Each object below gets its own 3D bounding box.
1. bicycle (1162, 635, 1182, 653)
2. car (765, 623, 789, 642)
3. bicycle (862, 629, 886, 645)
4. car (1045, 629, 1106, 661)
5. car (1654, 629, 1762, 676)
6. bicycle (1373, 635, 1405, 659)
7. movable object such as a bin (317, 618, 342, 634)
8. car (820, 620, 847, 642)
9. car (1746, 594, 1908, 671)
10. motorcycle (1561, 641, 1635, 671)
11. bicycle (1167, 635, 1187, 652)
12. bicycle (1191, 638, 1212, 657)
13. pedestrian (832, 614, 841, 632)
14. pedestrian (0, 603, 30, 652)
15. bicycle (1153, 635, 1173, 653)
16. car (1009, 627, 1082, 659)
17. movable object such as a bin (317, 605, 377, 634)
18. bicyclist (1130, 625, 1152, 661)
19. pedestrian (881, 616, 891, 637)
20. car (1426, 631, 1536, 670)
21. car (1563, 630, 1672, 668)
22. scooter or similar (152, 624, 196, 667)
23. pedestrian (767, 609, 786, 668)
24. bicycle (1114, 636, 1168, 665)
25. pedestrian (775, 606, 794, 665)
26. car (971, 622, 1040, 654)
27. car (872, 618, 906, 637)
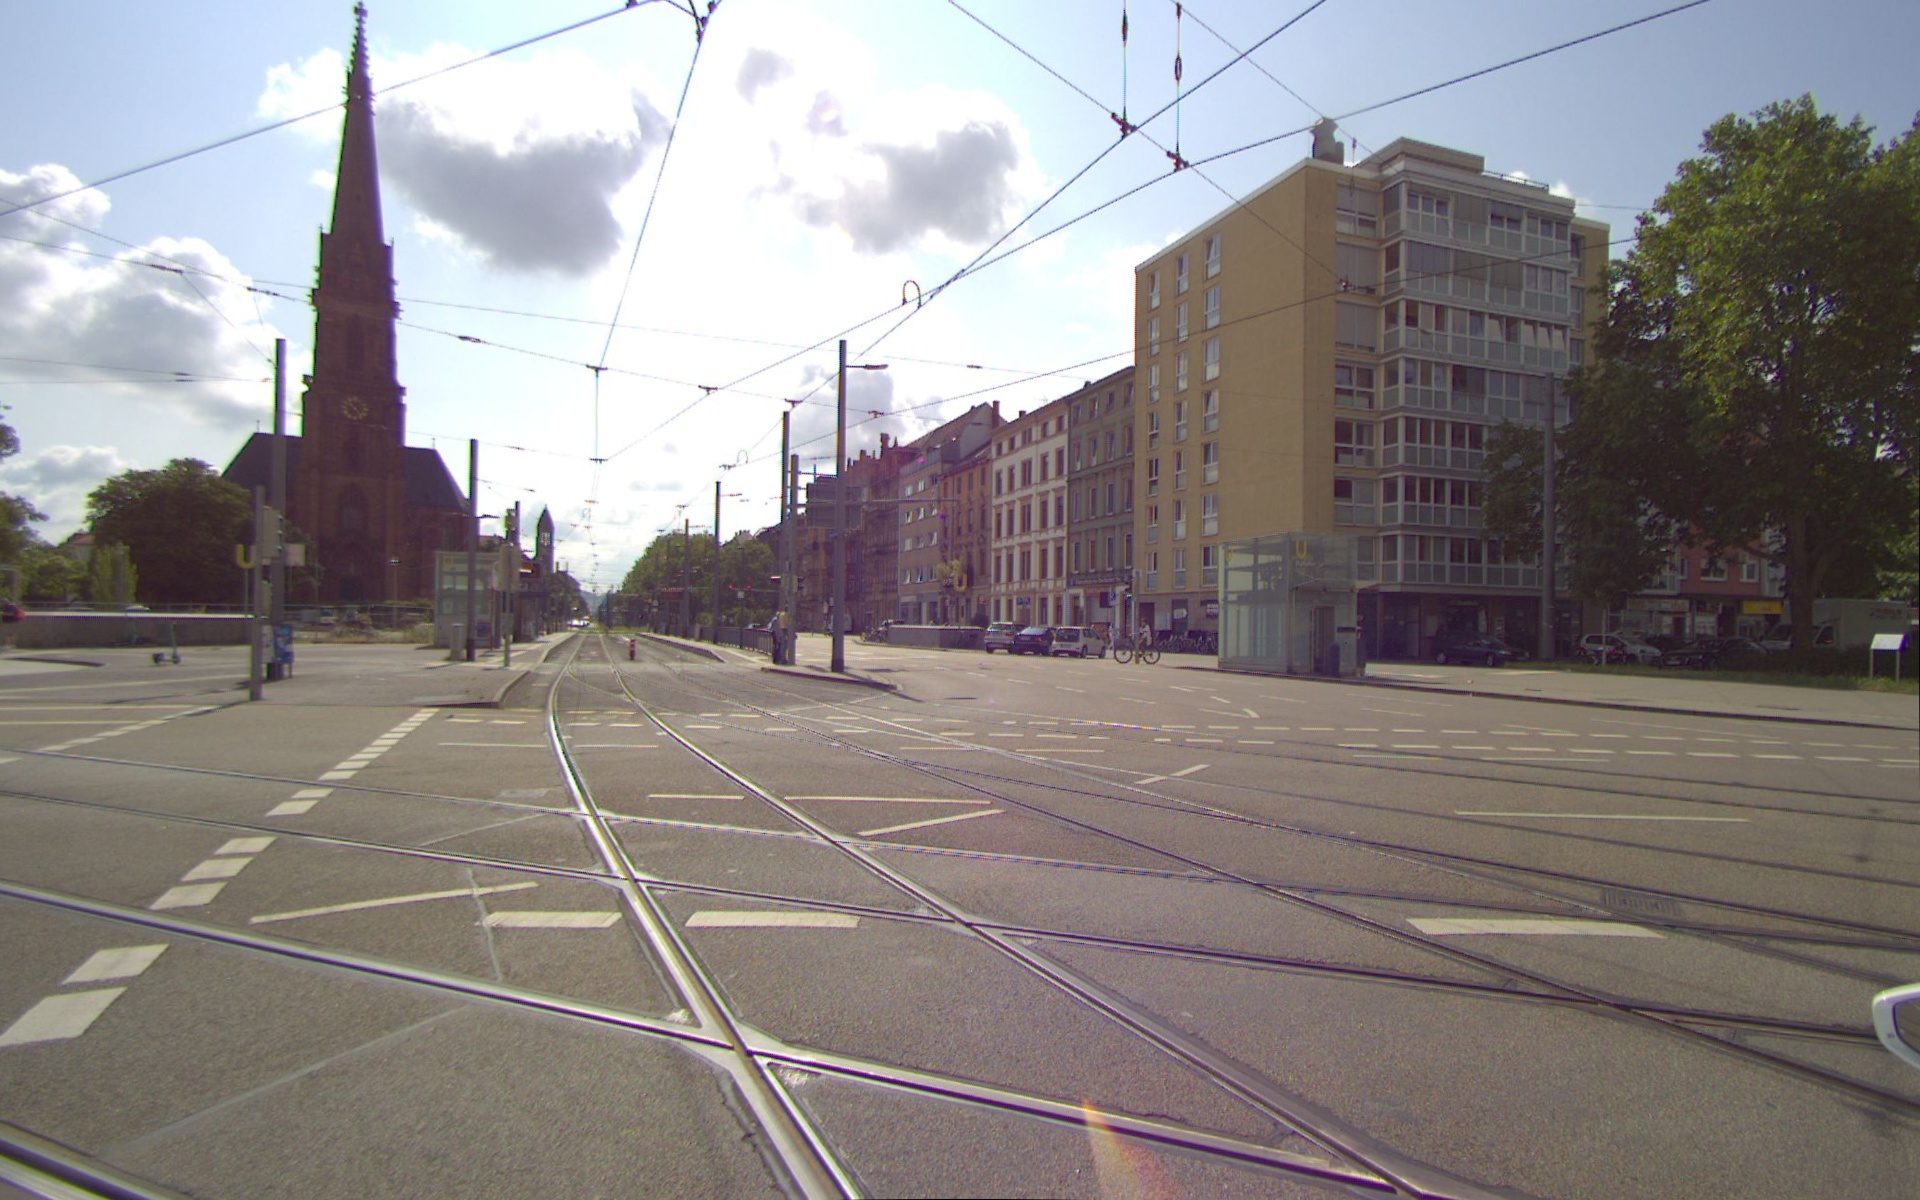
[{"bbox_3d":[11.743,2.414,55.681,0.289,0.935,1.456,1,0,-22],"label":"bicycle"},{"bbox_3d":[-18.441,3.277,101.178,1.670,1.734,3.589,1,1,-22],"label":"car"},{"bbox_3d":[-6.871,2.929,80.017,1.910,1.254,0.437,1,1,-34],"label":"bicycle"},{"bbox_3d":[5.614,2.183,48.541,1.747,1.472,3.491,0,-3,29],"label":"car"},{"bbox_3d":[29.651,2.044,39.804,3.951,1.728,1.985,1,-1,-29],"label":"car"},{"bbox_3d":[20.521,2.248,48.078,1.325,1.144,0.592,1,1,-17],"label":"bicycle"},{"bbox_3d":[-61.010,2.493,97.215,1.979,1.522,5.108,2,-2,-33],"label":"movable object such as a bin"},{"bbox_3d":[-15.684,3.823,124.399,1.970,2.559,5.862,1,-2,-20],"label":"car"},{"bbox_3d":[36.680,1.420,42.450,7.139,3.083,1.991,1,-1,-20],"label":"car"},{"bbox_3d":[23.962,2.092,37.779,2.252,1.043,0.973,1,-3,29],"label":"motorcycle"},{"bbox_3d":[12.033,2.415,55.801,0.289,0.935,1.456,1,-1,-22],"label":"bicycle"},{"bbox_3d":[12.800,2.523,53.232,0.289,0.935,1.457,1,1,-19],"label":"bicycle"},{"bbox_3d":[-13.217,2.477,107.713,0.659,1.928,0.687,1,-1,-39],"label":"pedestrian"},{"bbox_3d":[-35.922,1.040,38.117,0.551,1.818,0.720,0,-1,22],"label":"pedestrian"},{"bbox_3d":[11.253,2.421,55.707,0.289,0.935,1.456,1,-1,-22],"label":"bicycle"},{"bbox_3d":[4.381,2.181,50.913,1.904,1.479,4.592,1,-2,30],"label":"car"},{"bbox_3d":[-64.042,2.091,105.058,5.089,2.950,1.986,1,-2,-28],"label":"movable object such as a bin"},{"bbox_3d":[7.085,1.672,39.305,0.768,1.354,0.395,2,1,6],"label":"bicyclist"},{"bbox_3d":[-7.450,2.667,100.903,0.712,2.127,0.782,1,1,-20],"label":"pedestrian"},{"bbox_3d":[22.482,2.156,43.487,1.782,1.534,4.075,1,-1,-21],"label":"car"},{"bbox_3d":[31.358,2.303,48.056,1.782,1.534,4.075,1,1,-21],"label":"car"},{"bbox_3d":[-22.416,1.294,28.668,0.803,1.182,1.159,1,-1,-30],"label":"scooter or similar"},{"bbox_3d":[-6.466,1.346,35.373,0.498,2.040,0.511,1,-1,-32],"label":"pedestrian"},{"bbox_3d":[7.069,1.969,39.277,2.058,1.121,0.544,1,-1,6],"label":"bicycle"},{"bbox_3d":[-6.087,1.231,34.842,0.422,2.040,0.573,1,-1,-32],"label":"pedestrian"},{"bbox_3d":[2.515,2.033,54.452,2.023,1.669,4.591,0,-1,27],"label":"car"},{"bbox_3d":[-7.400,2.904,104.423,1.973,1.886,4.723,1,-2,-26],"label":"car"}]
